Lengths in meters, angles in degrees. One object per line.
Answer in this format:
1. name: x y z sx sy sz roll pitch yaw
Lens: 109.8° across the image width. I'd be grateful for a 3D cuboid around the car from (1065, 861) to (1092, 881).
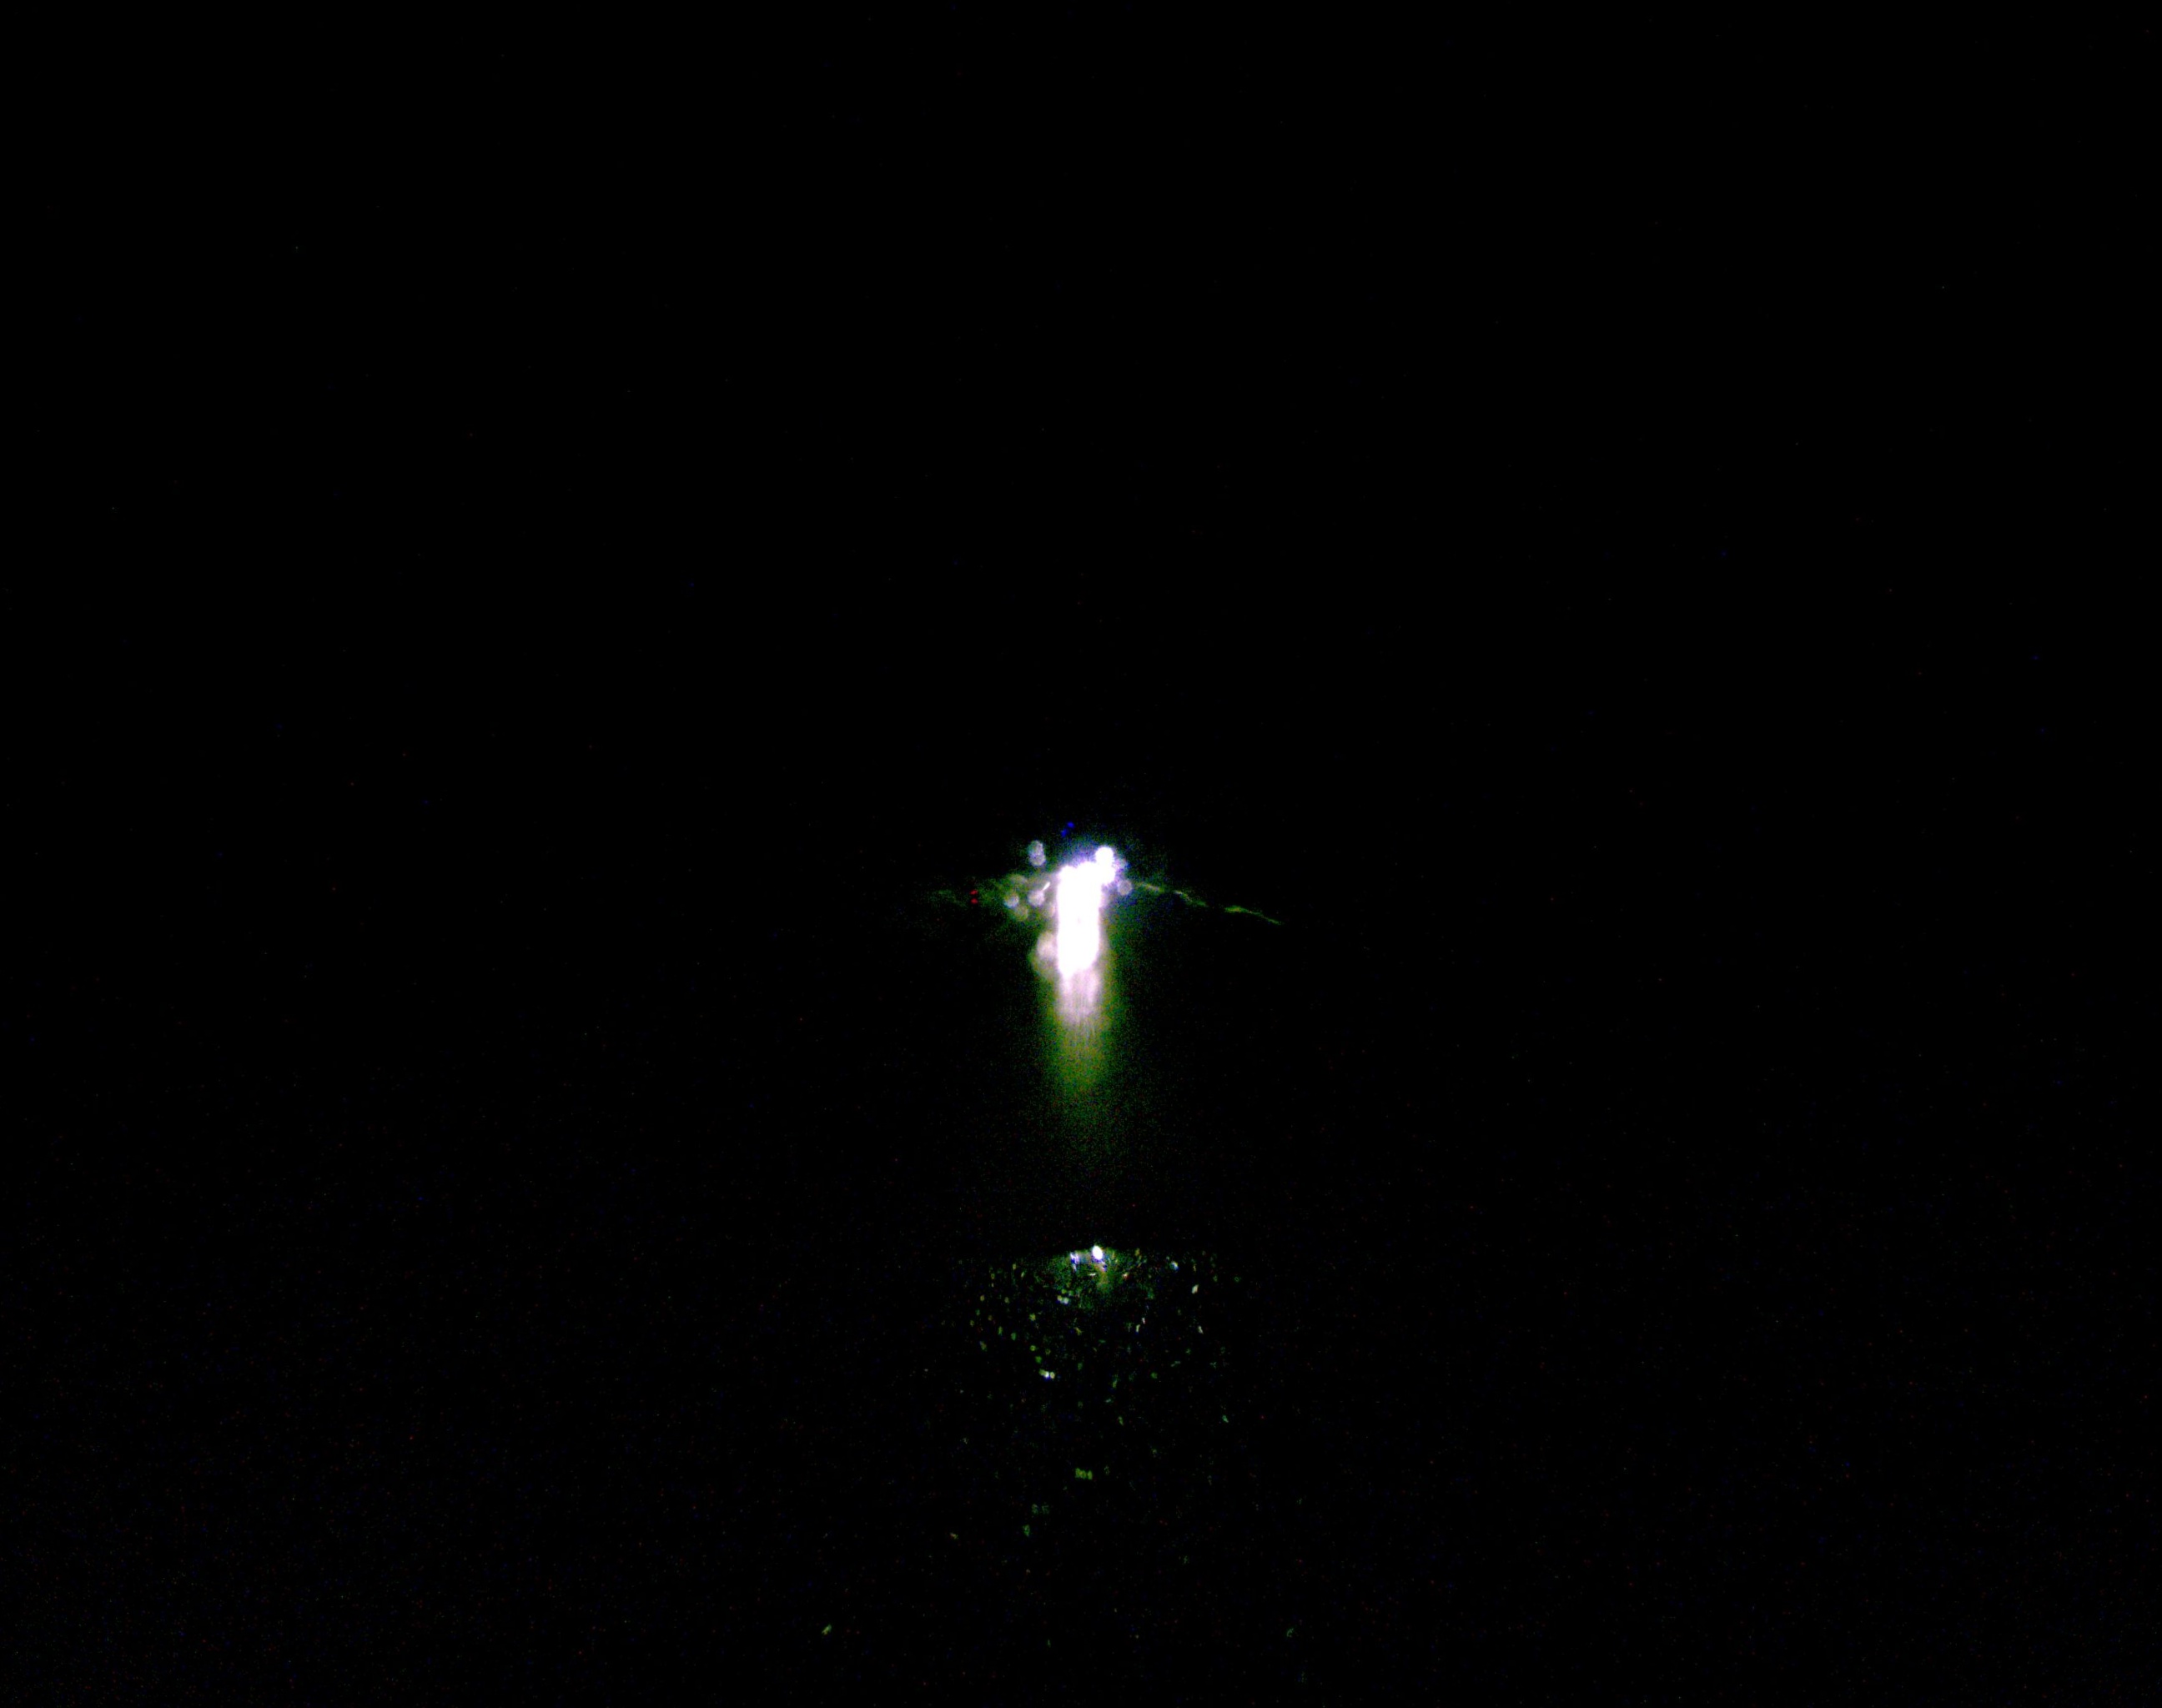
1. car: -0.169 1.301 59.126 1.998 1.412 3.999 -1 1 0
